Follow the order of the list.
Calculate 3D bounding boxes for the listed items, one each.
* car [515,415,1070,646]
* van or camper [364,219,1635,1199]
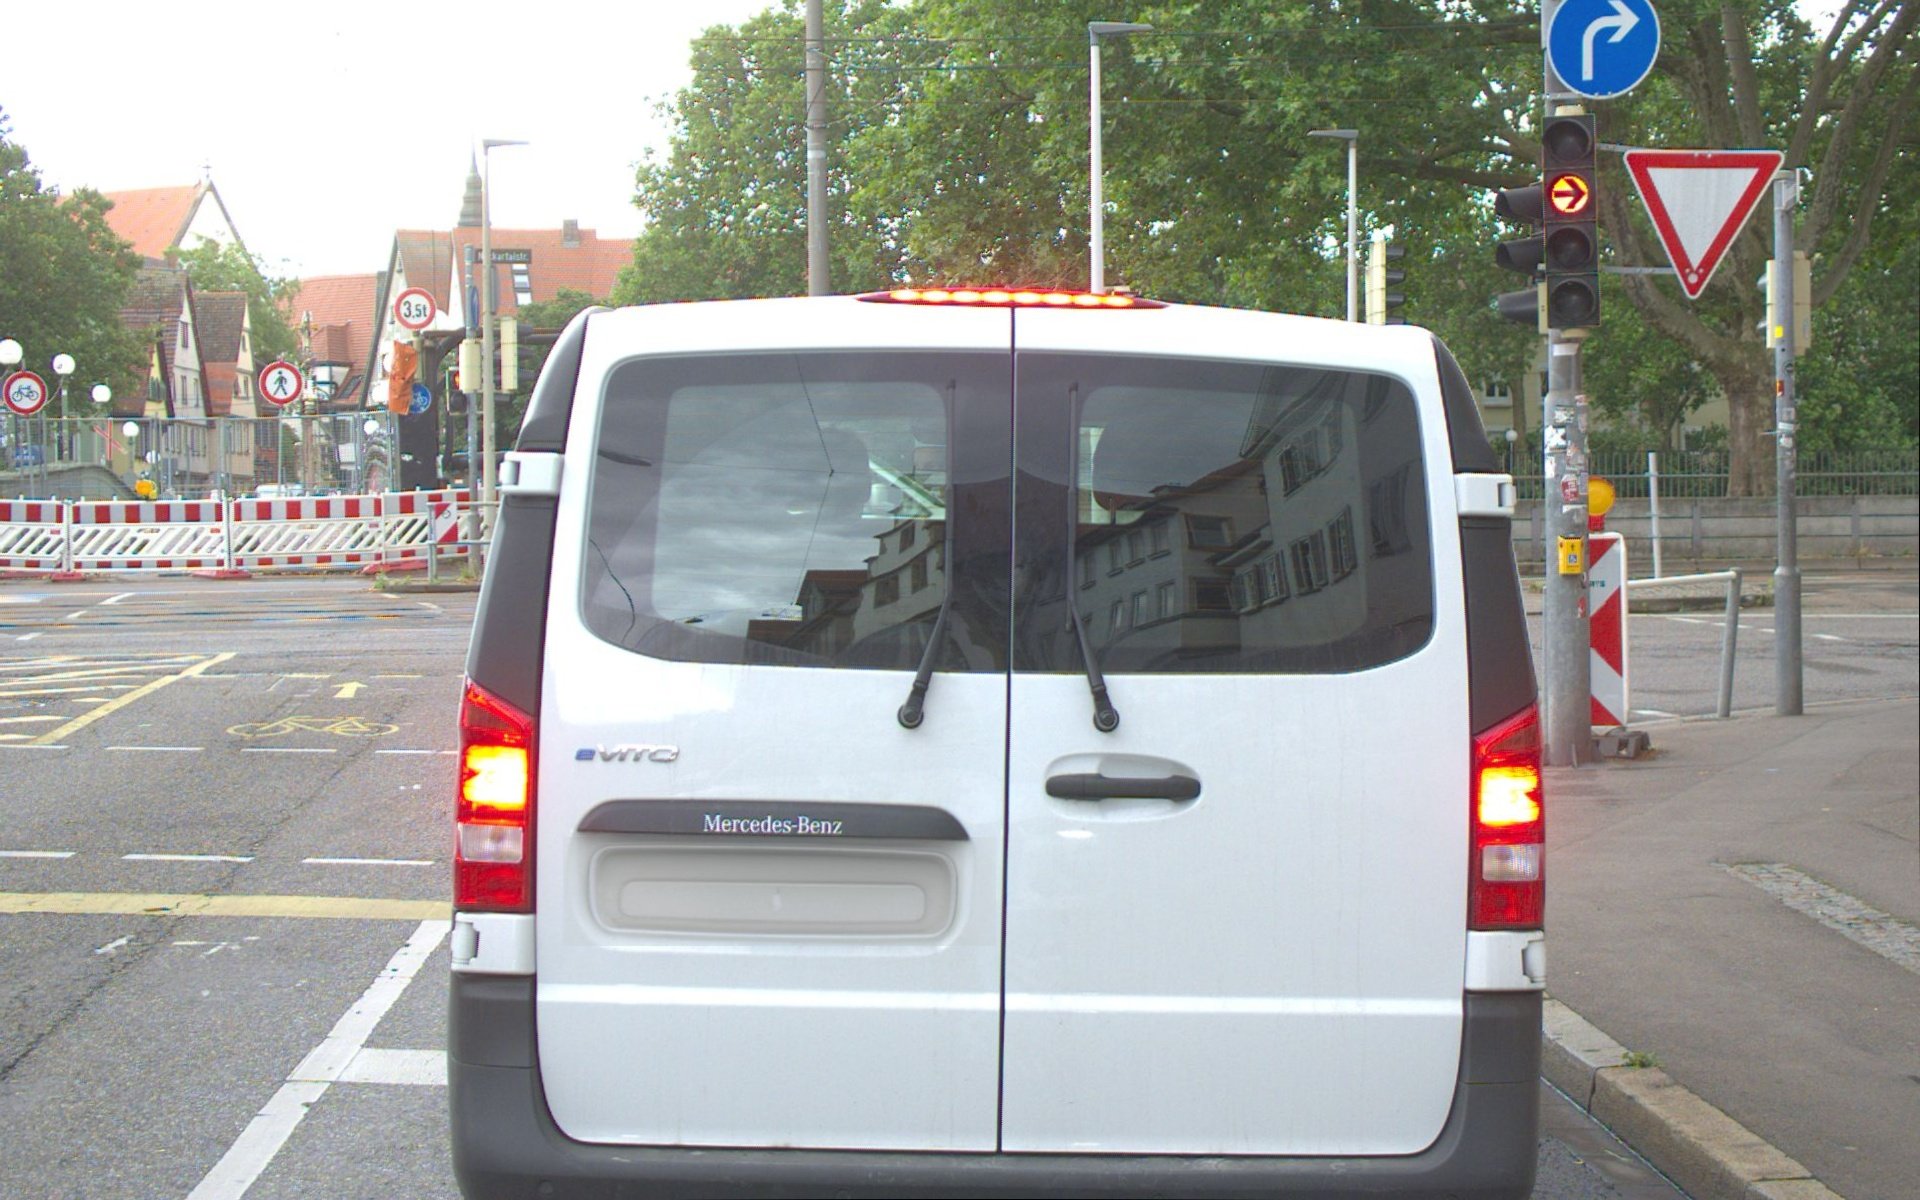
[{"bbox_3d":[-1.310,-0.585,27.971,4.346,1.796,2.000,0,2,0],"label":"car"},{"bbox_3d":[-0.104,0.374,7.491,1.937,1.918,4.441,1,0,-5],"label":"van or camper"}]
